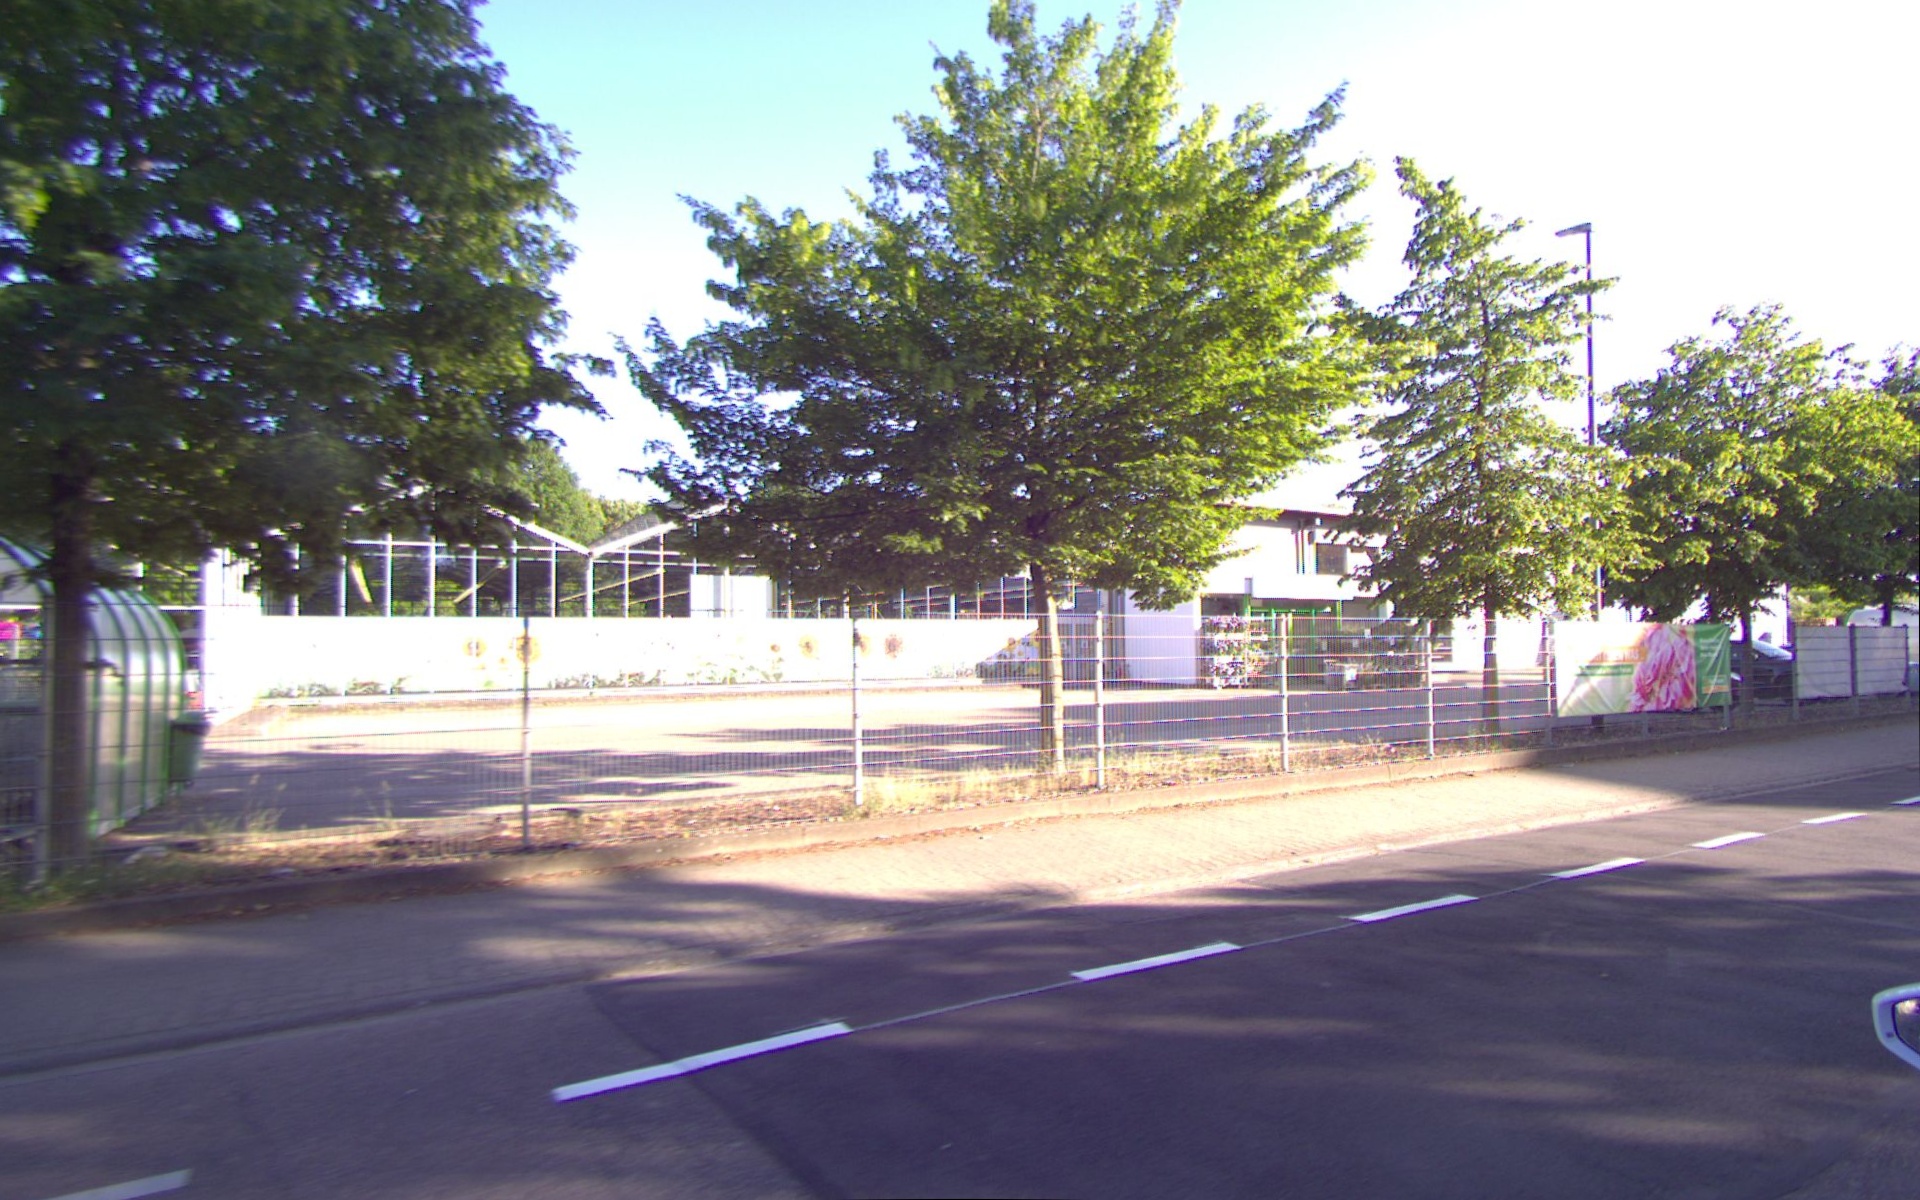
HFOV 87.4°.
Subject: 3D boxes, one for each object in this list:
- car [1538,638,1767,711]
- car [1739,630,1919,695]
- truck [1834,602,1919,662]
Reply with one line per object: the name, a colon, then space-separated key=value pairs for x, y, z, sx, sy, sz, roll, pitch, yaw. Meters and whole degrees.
car: x=15.146 y=1.667 z=22.161 sx=1.785 sy=1.469 sz=3.709 roll=1 pitch=-5 yaw=-31
car: x=22.702 y=1.634 z=25.777 sx=1.766 sy=1.530 sz=3.870 roll=1 pitch=-6 yaw=-32
truck: x=60.617 y=1.997 z=61.773 sx=2.744 sy=3.662 sz=10.050 roll=2 pitch=-2 yaw=-30
